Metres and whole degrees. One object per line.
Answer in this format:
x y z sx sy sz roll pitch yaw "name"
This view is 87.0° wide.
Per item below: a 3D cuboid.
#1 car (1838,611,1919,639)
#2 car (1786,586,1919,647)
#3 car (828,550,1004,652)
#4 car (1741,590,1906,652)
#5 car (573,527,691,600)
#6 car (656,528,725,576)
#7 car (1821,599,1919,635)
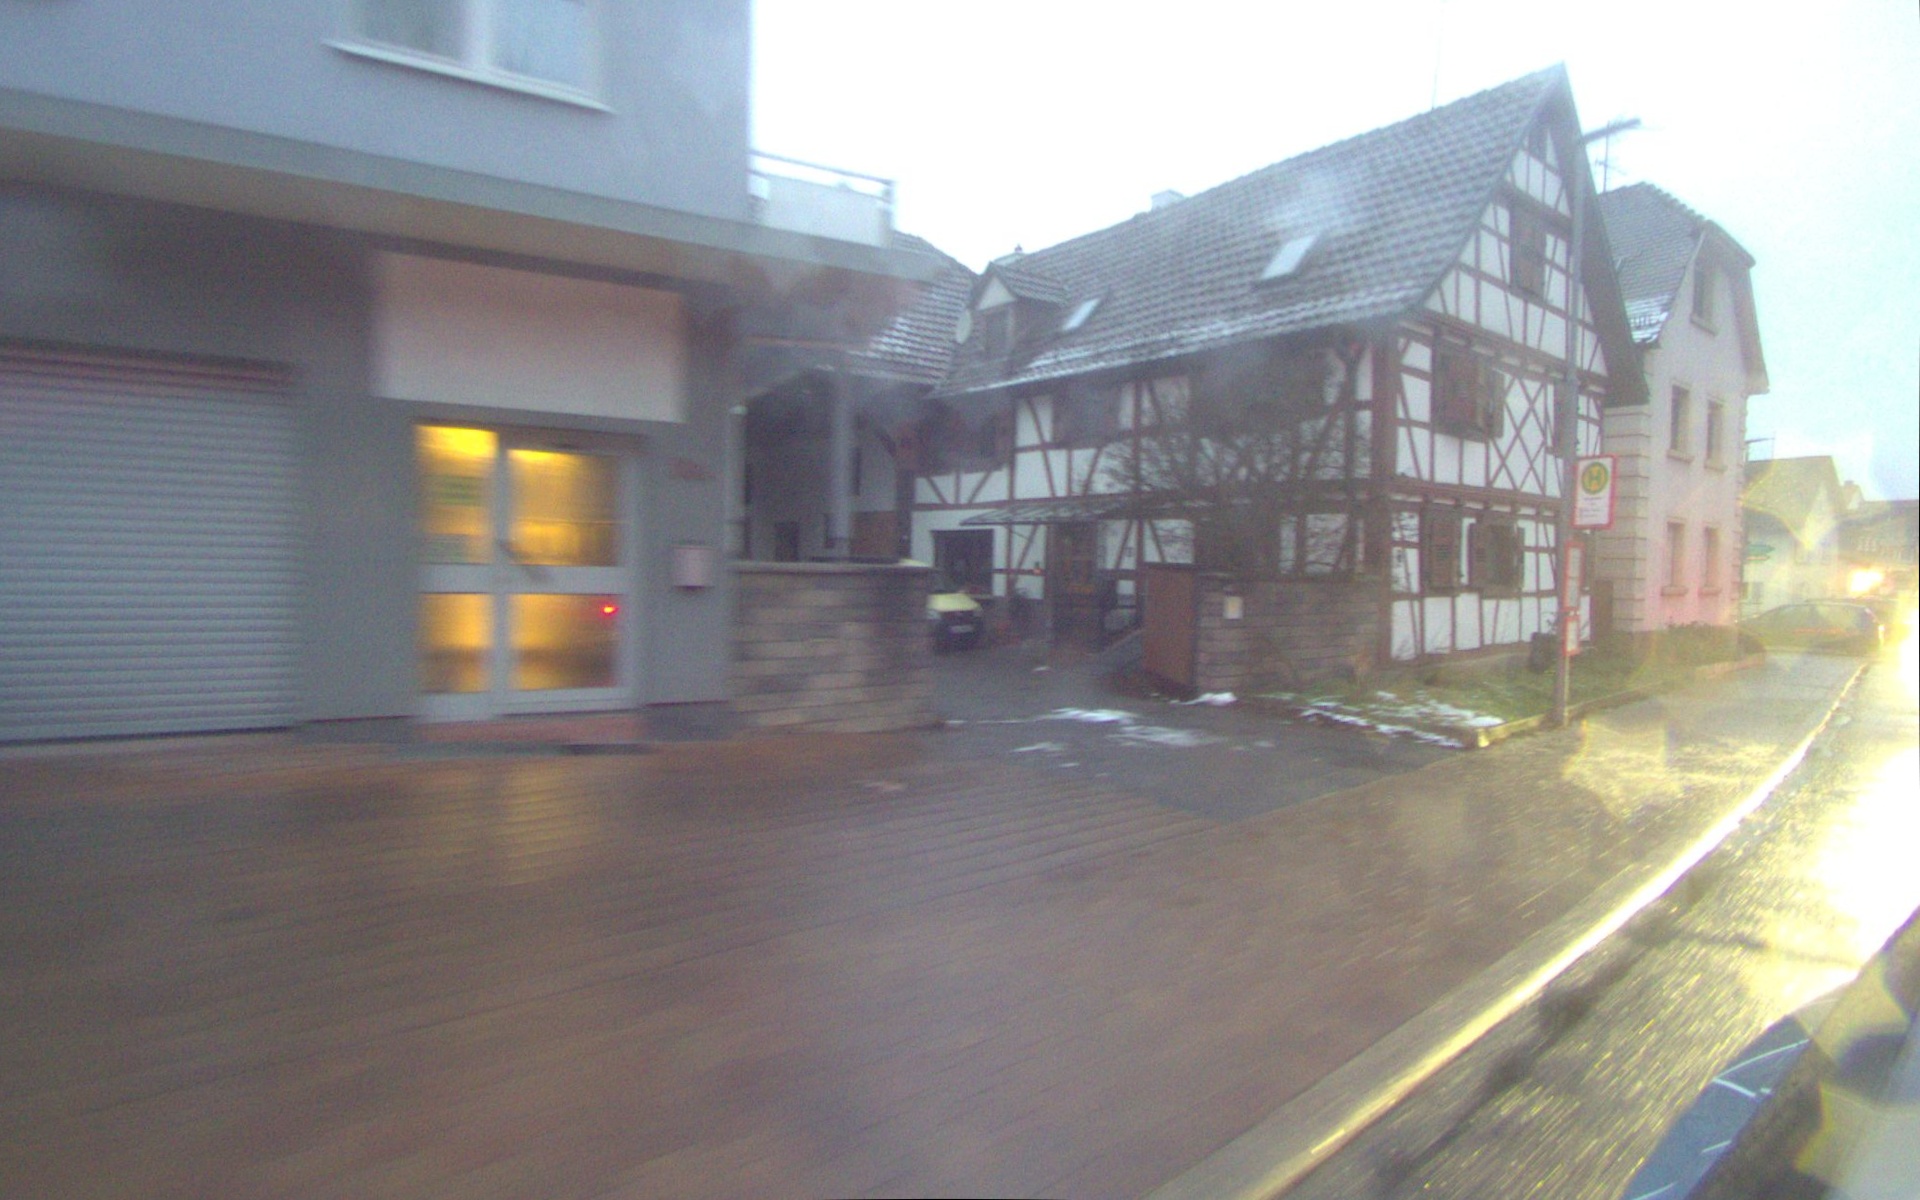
44.349 1.194 48.053 1.525 1.141 3.882 1 2 -44 "car"
31.586 0.553 35.555 3.875 1.900 1.841 3 2 41 "car"
-0.887 -0.066 18.754 1.589 1.561 3.427 -3 6 -37 "car"
27.355 0.626 32.180 3.840 1.647 1.587 4 2 42 "car"
-8.866 -1.027 27.056 2.030 1.622 4.743 0 5 -30 "car"
-8.744 -1.552 32.715 1.668 1.437 3.517 1 2 -23 "car"
40.188 0.720 44.103 1.525 1.384 3.882 1 2 -44 "car"
